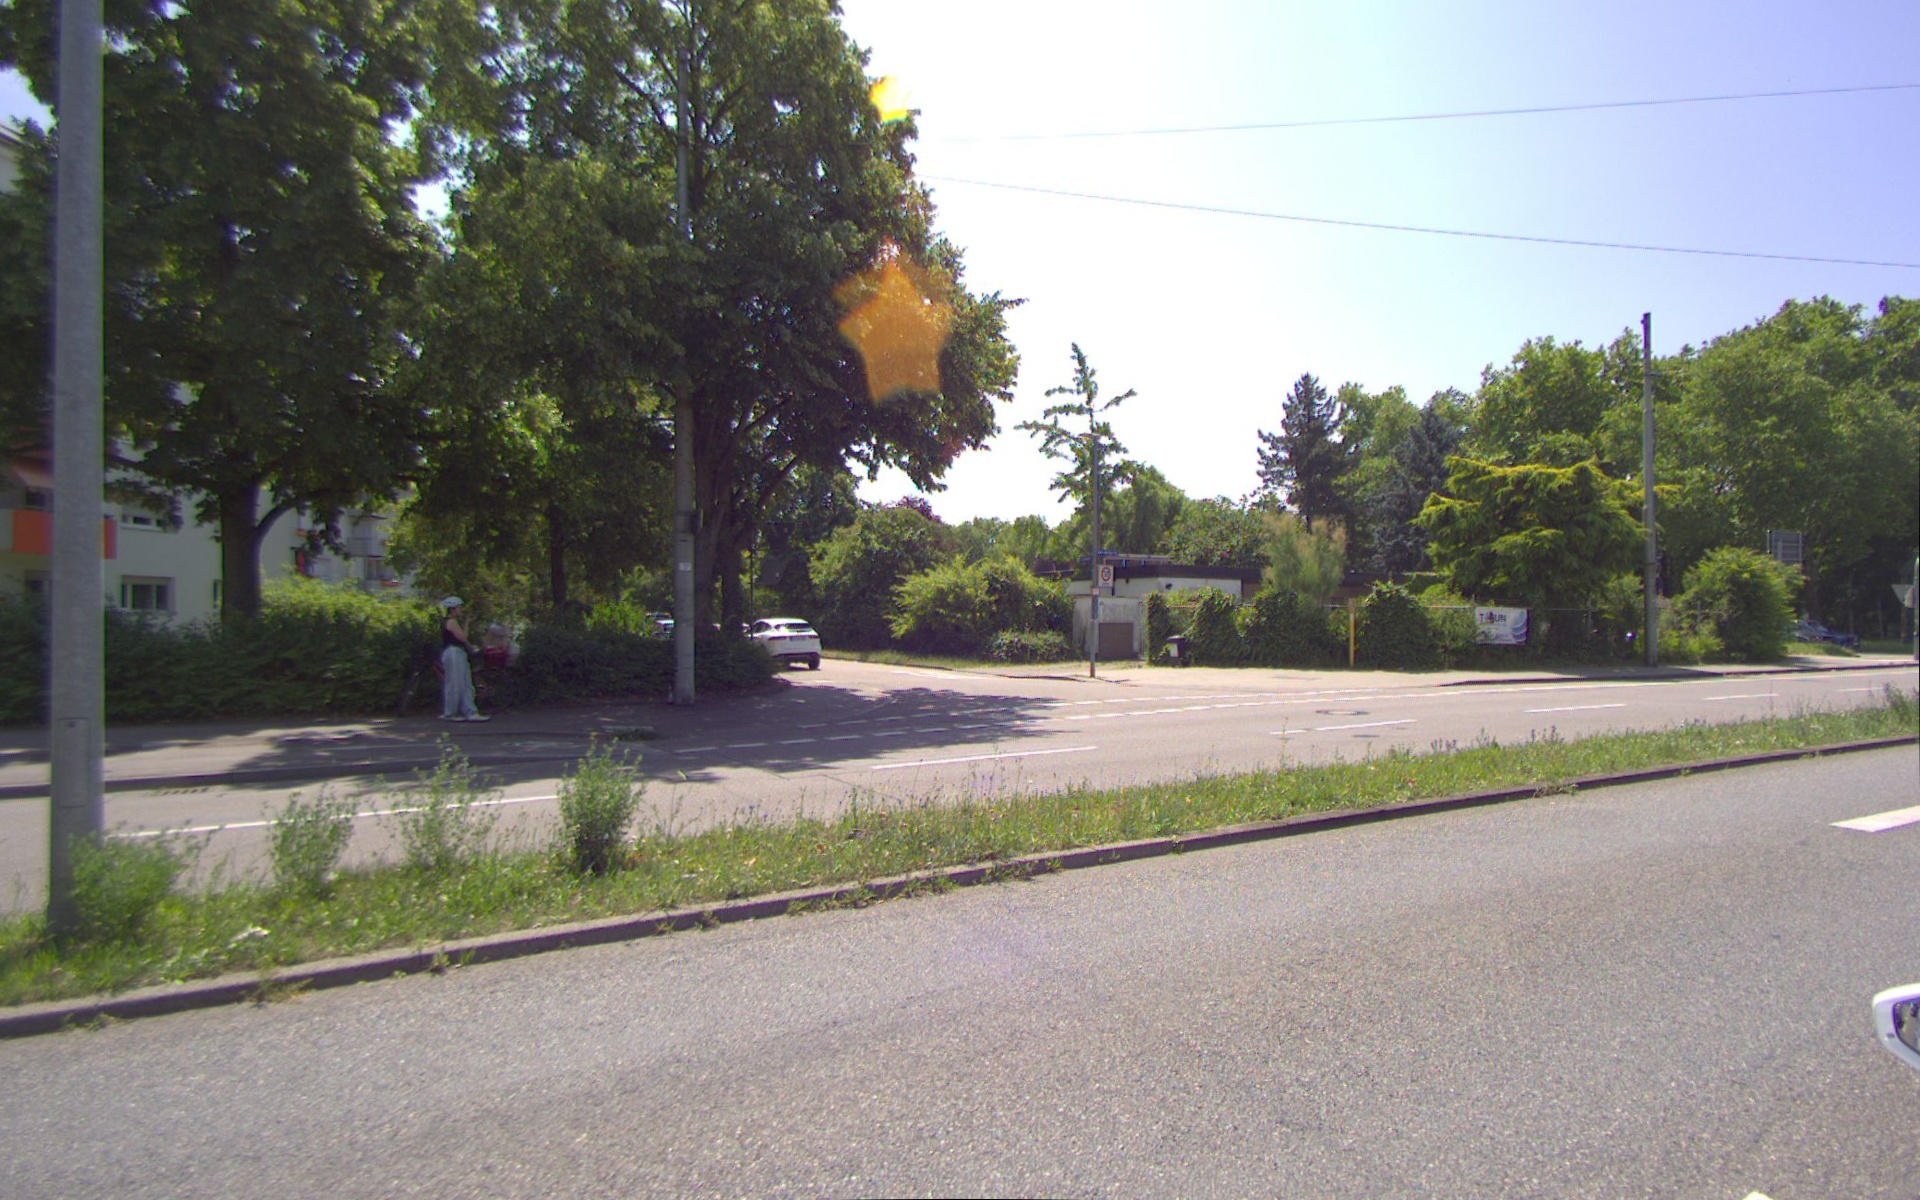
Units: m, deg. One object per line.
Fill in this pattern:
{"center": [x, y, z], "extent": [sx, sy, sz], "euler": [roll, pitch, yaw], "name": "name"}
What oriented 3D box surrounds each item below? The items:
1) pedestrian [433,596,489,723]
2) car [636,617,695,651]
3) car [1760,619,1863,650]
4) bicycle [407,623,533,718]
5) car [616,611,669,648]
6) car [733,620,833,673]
{"center": [-7.006, 0.822, 14.113], "extent": [0.594, 1.741, 0.549], "euler": [0, -1, -16], "name": "pedestrian"}
{"center": [-14.344, 1.612, 48.780], "extent": [1.976, 1.589, 3.970], "euler": [1, -1, -29], "name": "car"}
{"center": [46.578, 1.851, 55.048], "extent": [1.744, 1.600, 3.985], "euler": [0, -1, -18], "name": "car"}
{"center": [-7.143, 1.006, 14.711], "extent": [1.548, 1.345, 0.645], "euler": [1, -1, -17], "name": "bicycle"}
{"center": [-16.839, 1.557, 53.181], "extent": [1.976, 1.878, 3.970], "euler": [1, -1, -29], "name": "car"}
{"center": [-5.909, 1.471, 33.216], "extent": [1.977, 1.634, 3.967], "euler": [1, -1, -31], "name": "car"}
